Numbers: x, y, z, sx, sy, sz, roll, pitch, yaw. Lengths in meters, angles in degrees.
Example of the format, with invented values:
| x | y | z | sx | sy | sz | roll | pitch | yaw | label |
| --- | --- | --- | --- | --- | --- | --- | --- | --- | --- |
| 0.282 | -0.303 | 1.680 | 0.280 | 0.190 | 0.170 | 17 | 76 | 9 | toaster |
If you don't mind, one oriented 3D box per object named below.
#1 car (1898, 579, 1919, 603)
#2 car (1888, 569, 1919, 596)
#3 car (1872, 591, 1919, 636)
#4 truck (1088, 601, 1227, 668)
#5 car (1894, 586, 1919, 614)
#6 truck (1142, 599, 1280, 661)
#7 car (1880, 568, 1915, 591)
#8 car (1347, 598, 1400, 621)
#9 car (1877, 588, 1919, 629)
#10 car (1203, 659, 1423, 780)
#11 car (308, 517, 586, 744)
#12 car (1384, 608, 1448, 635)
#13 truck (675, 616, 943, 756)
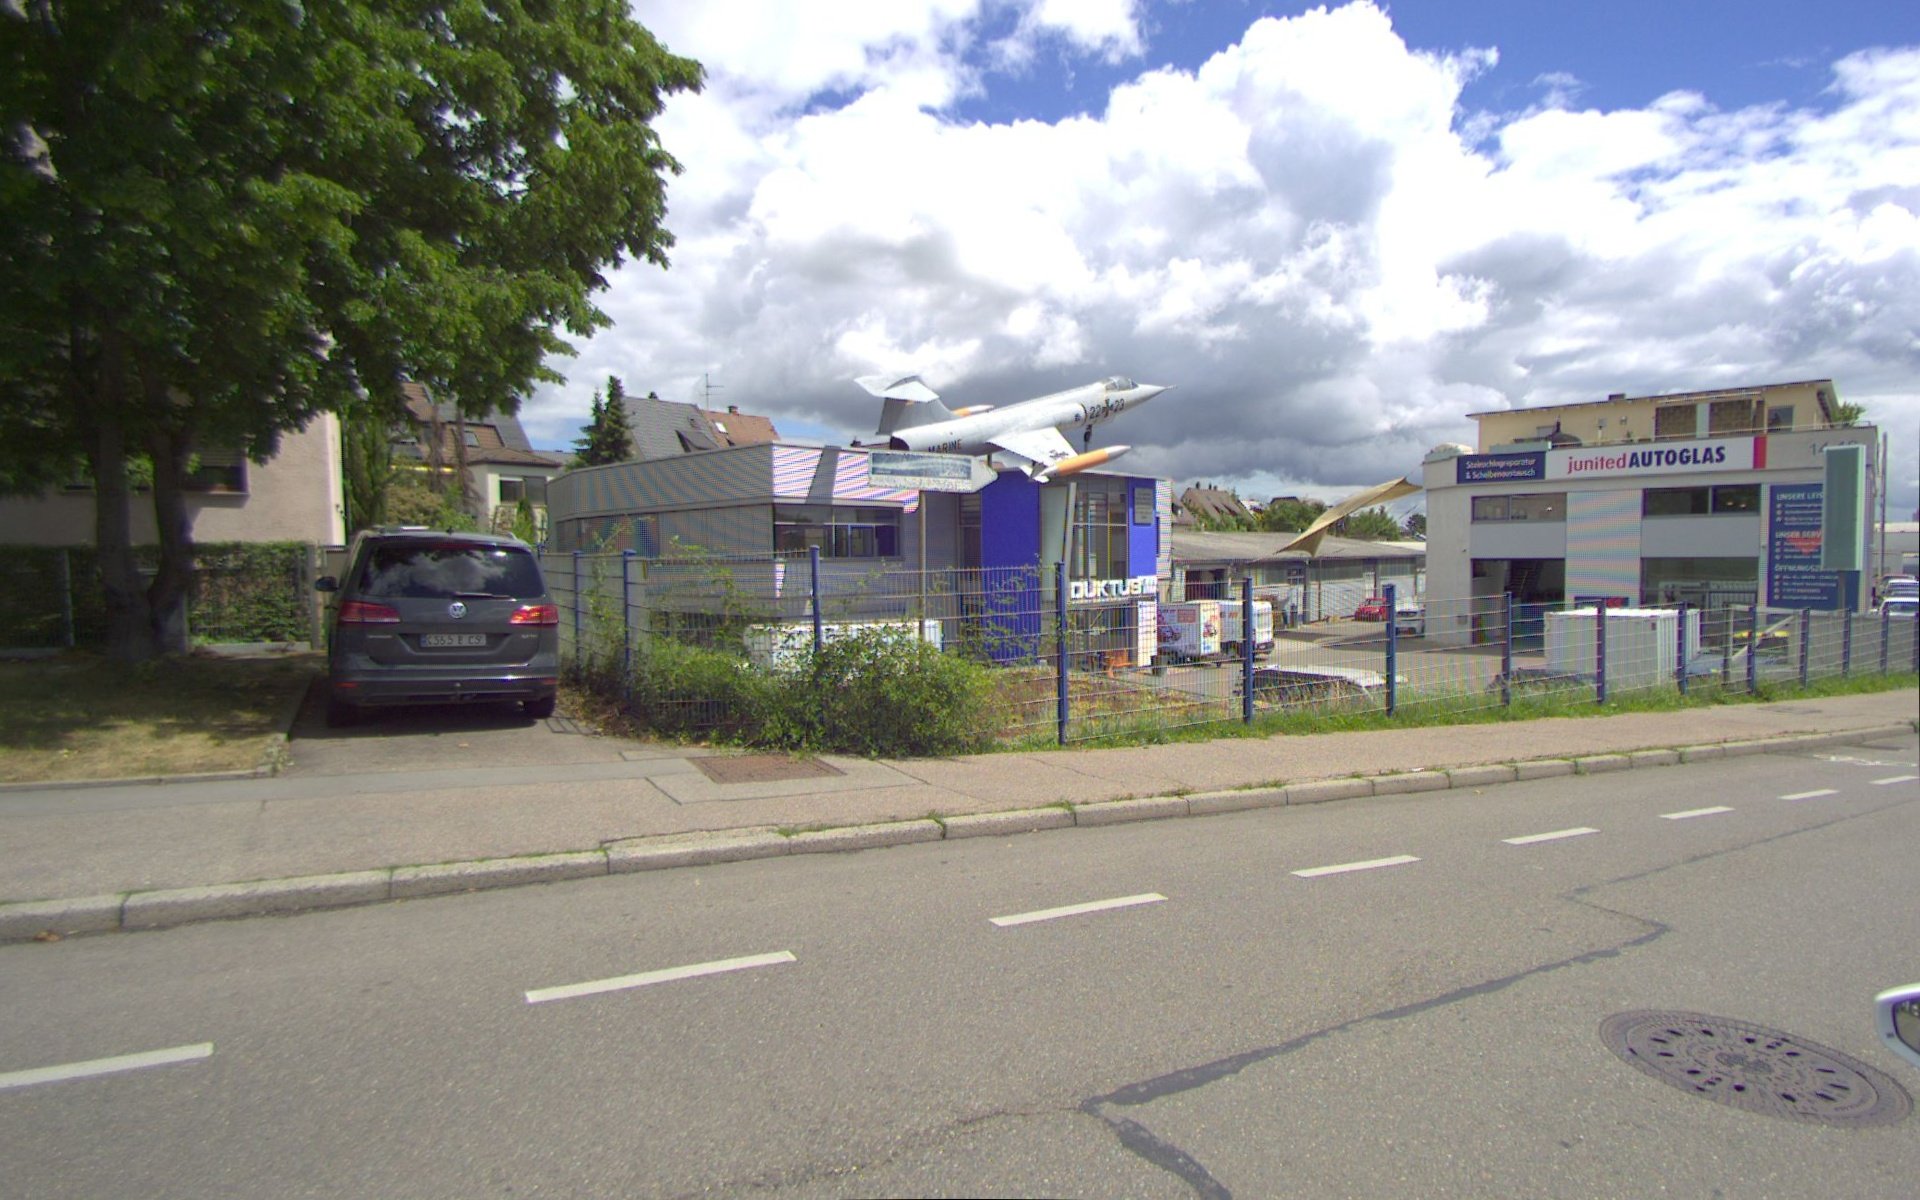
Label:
| x | y | z | sx | sy | sz | roll | pitch | yaw | label |
| --- | --- | --- | --- | --- | --- | --- | --- | --- | --- |
| 56.632 | -0.526 | 59.382 | 1.653 | 1.341 | 3.695 | 0 | -1 | 44 | car |
| 52.819 | -0.959 | 55.889 | 1.653 | 1.341 | 3.695 | 0 | -1 | 44 | car |
| 36.433 | 0.537 | 38.673 | 1.828 | 1.672 | 3.975 | 0 | -1 | 44 | car |
| 8.474 | 1.440 | 43.581 | 2.163 | 2.742 | 5.724 | 1 | -1 | -44 | truck |
| 48.406 | 0.033 | 50.776 | 1.653 | 1.341 | 3.695 | 0 | -1 | 44 | car |
| 11.170 | 1.310 | 44.995 | 2.192 | 2.609 | 5.724 | 1 | -1 | -44 | truck |
| 62.019 | -1.330 | 66.452 | 1.653 | 1.341 | 3.695 | 0 | -1 | 44 | car |
| 27.140 | 0.612 | 65.817 | 1.971 | 1.372 | 3.978 | 2 | 1 | 42 | car |
| 39.669 | 0.381 | 42.127 | 1.678 | 1.651 | 3.695 | 0 | -1 | 44 | car |
| 7.259 | 2.366 | 20.989 | 1.979 | 2.040 | 3.962 | 1 | -1 | -34 | car |
| -5.340 | 0.162 | 10.203 | 1.978 | 1.739 | 4.672 | 2 | 1 | -32 | car |
| 24.231 | 1.118 | 53.300 | 1.971 | 1.372 | 3.978 | 2 | 1 | 42 | car |
| -3.553 | 1.894 | 23.975 | 5.813 | 2.912 | 2.445 | 1 | 1 | -30 | truck |
